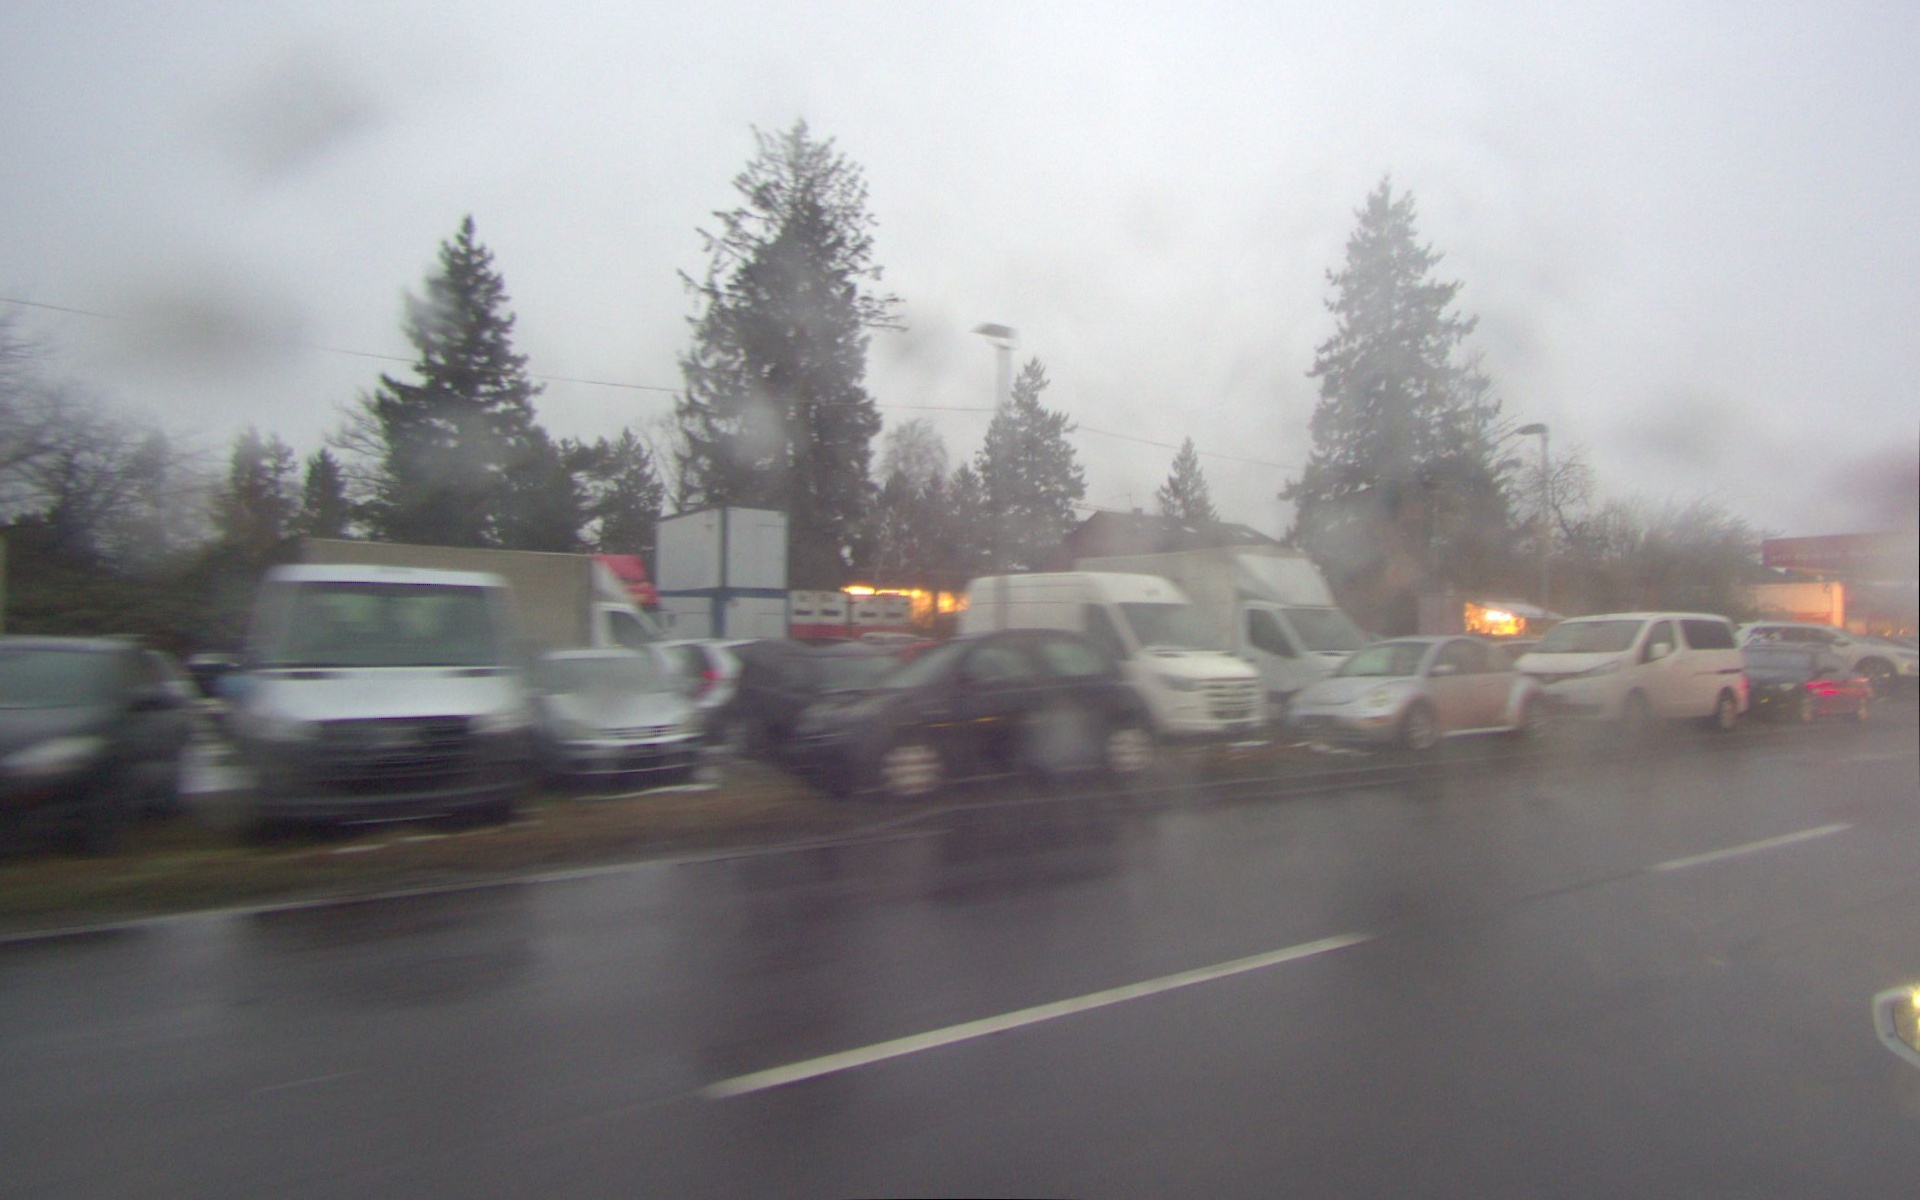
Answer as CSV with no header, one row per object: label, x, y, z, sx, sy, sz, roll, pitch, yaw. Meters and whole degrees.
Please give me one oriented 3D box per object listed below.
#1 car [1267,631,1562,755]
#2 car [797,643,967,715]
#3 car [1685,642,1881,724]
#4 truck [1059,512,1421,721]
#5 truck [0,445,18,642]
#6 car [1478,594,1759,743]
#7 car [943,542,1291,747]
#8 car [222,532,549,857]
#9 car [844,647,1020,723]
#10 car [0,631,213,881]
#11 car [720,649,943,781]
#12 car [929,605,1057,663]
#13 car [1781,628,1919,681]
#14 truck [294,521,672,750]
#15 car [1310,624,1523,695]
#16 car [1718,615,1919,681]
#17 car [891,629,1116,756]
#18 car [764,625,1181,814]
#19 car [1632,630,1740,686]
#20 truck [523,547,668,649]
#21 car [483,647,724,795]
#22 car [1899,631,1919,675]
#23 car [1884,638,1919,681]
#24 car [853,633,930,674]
car,6.051,1.133,13.313,3.793,1.431,1.643,1,-2,-29
car,-1.693,1.681,22.105,3.414,1.399,1.603,1,-1,-33
car,15.039,1.519,18.303,4.212,1.338,1.561,4,-4,-33
truck,4.847,0.328,18.854,2.308,3.183,6.823,1,-2,-31
truck,-23.799,-1.258,22.893,2.984,4.318,8.608,2,0,-41
car,10.274,1.002,15.611,4.429,2.040,1.827,2,-2,-29
car,2.196,0.668,16.199,2.172,2.673,5.998,1,-2,-32
car,-5.359,0.764,9.498,2.034,2.178,5.122,1,-3,-30
car,-0.564,1.701,20.753,3.308,1.386,1.597,1,-2,-34
car,-7.396,1.044,7.859,1.932,1.502,4.727,1,-3,-30
car,-1.733,1.344,12.757,1.466,1.346,3.282,2,-2,-35
car,1.430,1.412,42.184,5.237,2.292,1.980,2,-2,-36
car,28.693,1.677,31.434,1.804,1.518,4.316,1,-1,-30
truck,-8.288,0.645,17.816,5.794,3.499,2.018,1,-4,-35
car,10.081,1.266,22.453,1.796,1.396,4.024,1,-1,-34
car,24.548,1.307,28.493,1.990,1.699,4.506,1,-1,-34
car,0.491,1.148,13.679,1.483,1.512,3.208,1,-2,-34
car,0.166,1.001,9.655,3.698,1.438,1.643,0,-2,-31
car,23.536,1.845,32.529,3.667,1.699,1.660,2,-2,-33
truck,-10.678,-0.041,29.236,2.220,2.732,4.662,2,-1,-44
car,-4.484,1.312,12.243,1.823,1.401,3.962,0,-2,-34
car,38.524,2.053,37.990,1.918,1.672,4.031,1,-2,-28
car,34.772,2.129,34.789,1.757,1.479,3.750,1,0,-33
car,-2.283,1.730,33.004,1.330,1.234,2.783,1,-2,-34
